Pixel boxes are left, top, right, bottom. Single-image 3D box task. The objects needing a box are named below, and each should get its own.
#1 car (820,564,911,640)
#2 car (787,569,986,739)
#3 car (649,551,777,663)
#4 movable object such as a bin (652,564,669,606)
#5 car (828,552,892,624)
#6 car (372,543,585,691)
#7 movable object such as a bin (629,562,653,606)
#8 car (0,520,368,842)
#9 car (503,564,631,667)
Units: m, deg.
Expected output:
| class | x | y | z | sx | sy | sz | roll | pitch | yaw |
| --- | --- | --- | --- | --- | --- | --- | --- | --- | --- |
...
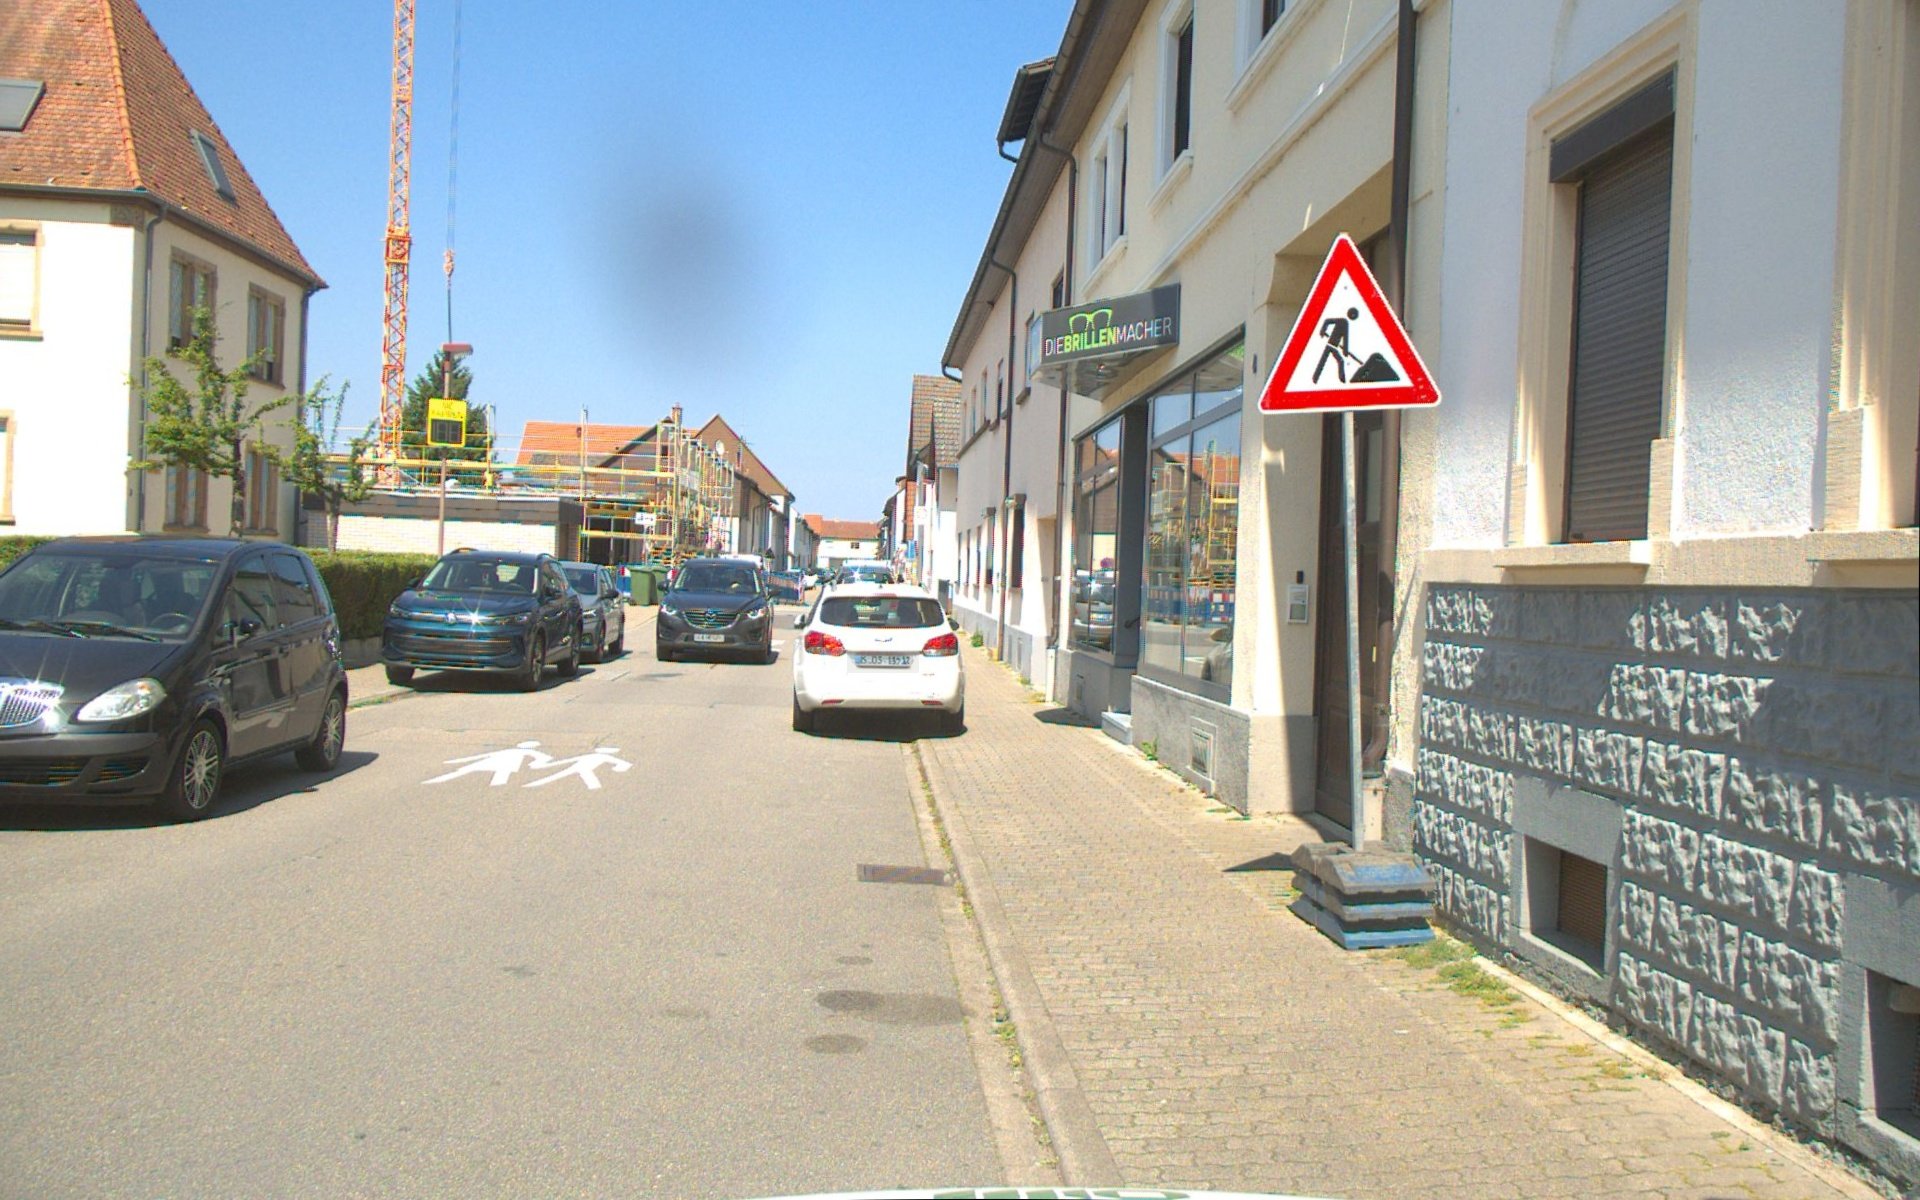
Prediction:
| class | x | y | z | sx | sy | sz | roll | pitch | yaw |
| --- | --- | --- | --- | --- | --- | --- | --- | --- | --- |
| car | -2.210 | -0.009 | 37.776 | 1.848 | 1.583 | 3.889 | -1 | 2 | -6 |
| car | -0.886 | 0.482 | 17.909 | 1.850 | 1.568 | 4.238 | 2 | 1 | -5 |
| car | -4.134 | 0.079 | 28.228 | 1.845 | 1.697 | 4.149 | 2 | 1 | -5 |
| movable object such as a bin | -8.393 | -0.425 | 46.350 | 0.424 | 1.175 | 0.363 | 2 | 1 | -13 |
| car | -2.612 | -0.344 | 42.933 | 1.533 | 1.640 | 3.541 | 2 | 3 | -4 |
| car | -6.070 | 0.158 | 21.327 | 1.791 | 1.659 | 4.213 | 2 | 1 | -5 |
| movable object such as a bin | -8.836 | -0.451 | 45.843 | 0.610 | 1.175 | 0.676 | 2 | 1 | -11 |
| car | -5.147 | 0.370 | 10.505 | 1.605 | 1.657 | 3.765 | 2 | 1 | -4 |
| car | -6.282 | 0.207 | 26.750 | 1.408 | 1.500 | 3.783 | 2 | 1 | -5 |
